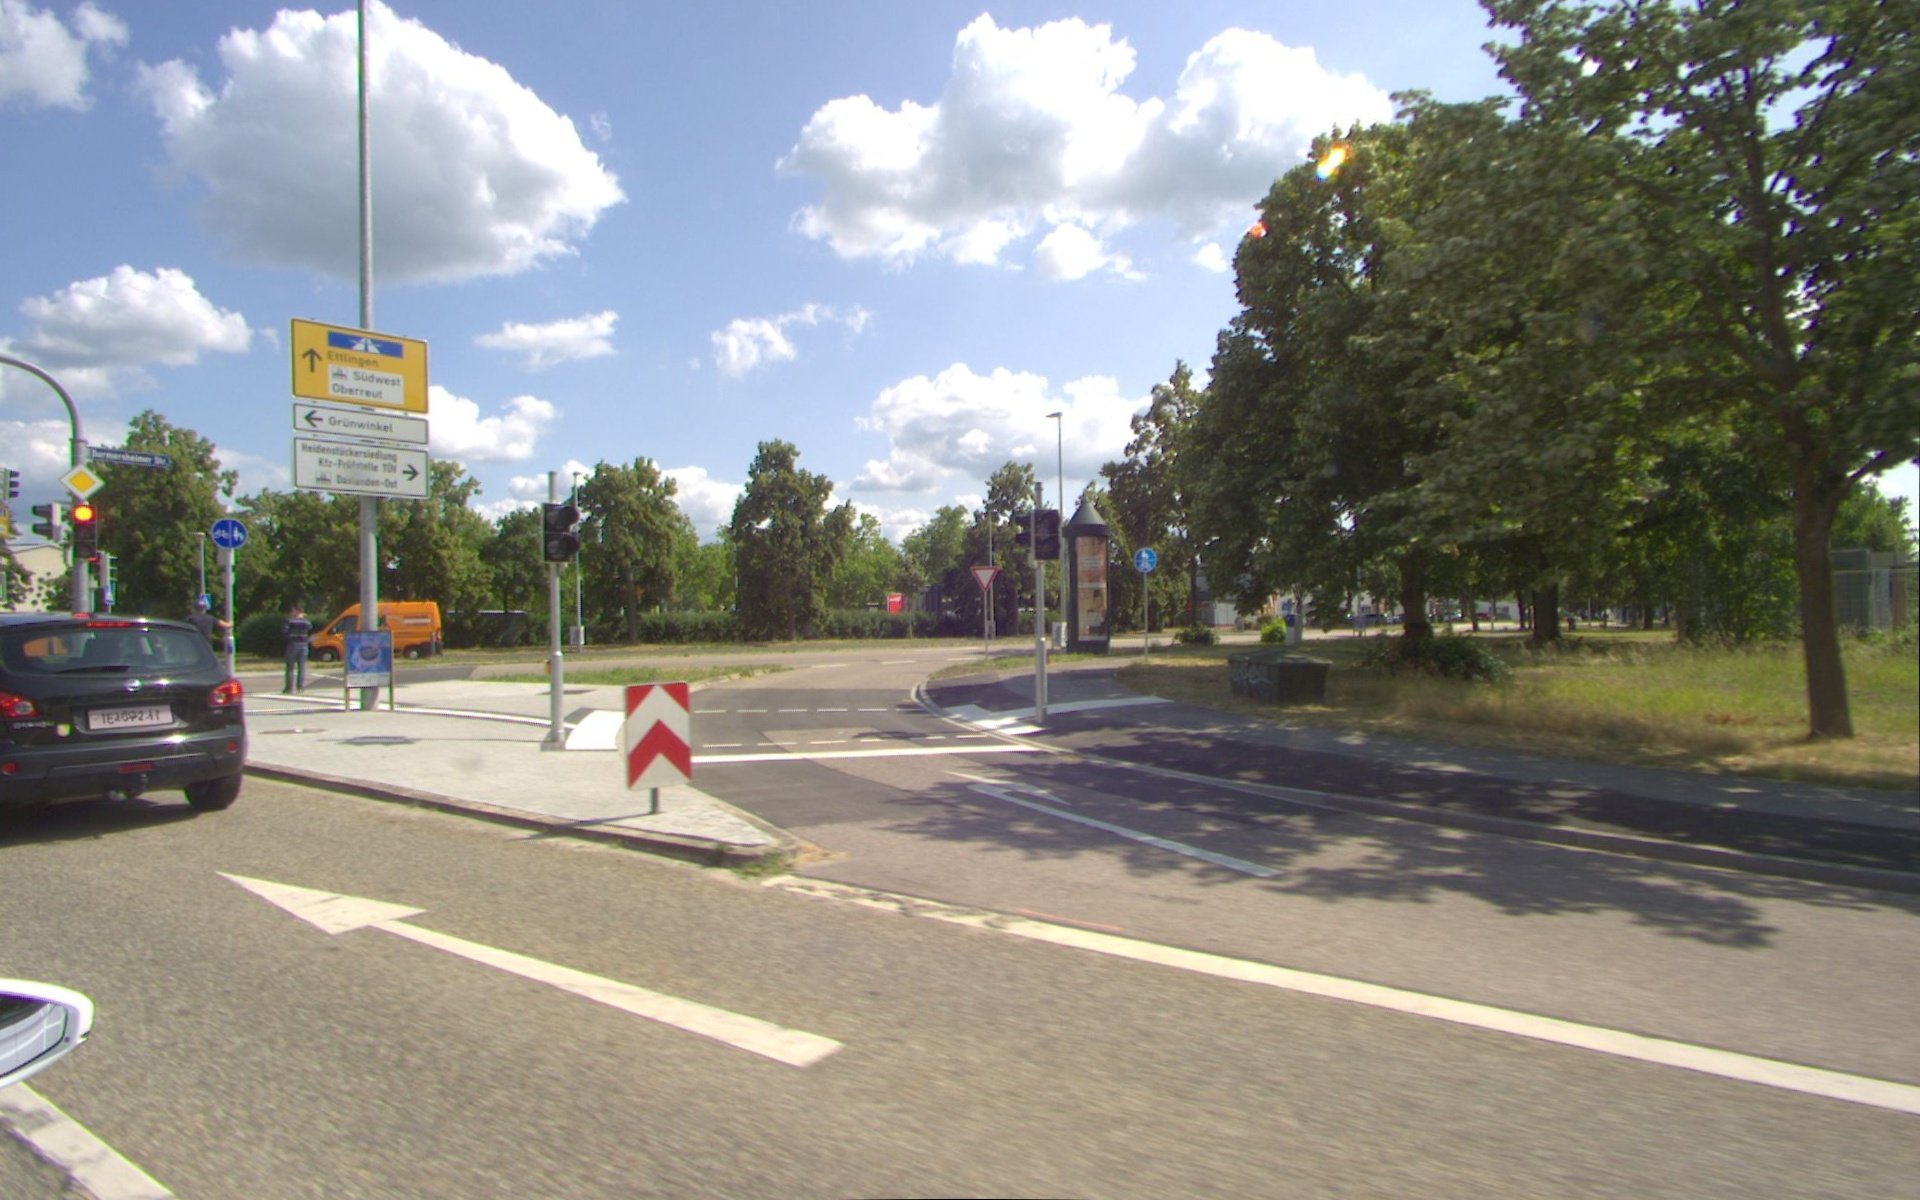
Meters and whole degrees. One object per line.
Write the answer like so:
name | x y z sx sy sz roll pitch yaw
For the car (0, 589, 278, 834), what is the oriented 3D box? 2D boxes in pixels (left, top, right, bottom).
car | -7.482 0.806 8.082 3.943 1.571 1.797 -2 -3 32

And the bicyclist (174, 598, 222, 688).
bicyclist | -14.537 0.825 19.102 0.644 1.682 0.644 3 -3 -43

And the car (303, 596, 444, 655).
car | -23.798 1.116 40.873 4.789 2.253 2.203 2 -3 -29

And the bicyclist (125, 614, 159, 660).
bicyclist | -33.100 1.498 40.524 0.673 1.827 0.789 -1 -1 12

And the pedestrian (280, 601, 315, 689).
pedestrian | -13.705 0.933 20.722 0.477 1.800 0.462 -2 -3 43

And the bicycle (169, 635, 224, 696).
bicycle | -14.670 1.248 19.228 0.644 1.121 1.911 3 -4 -42
